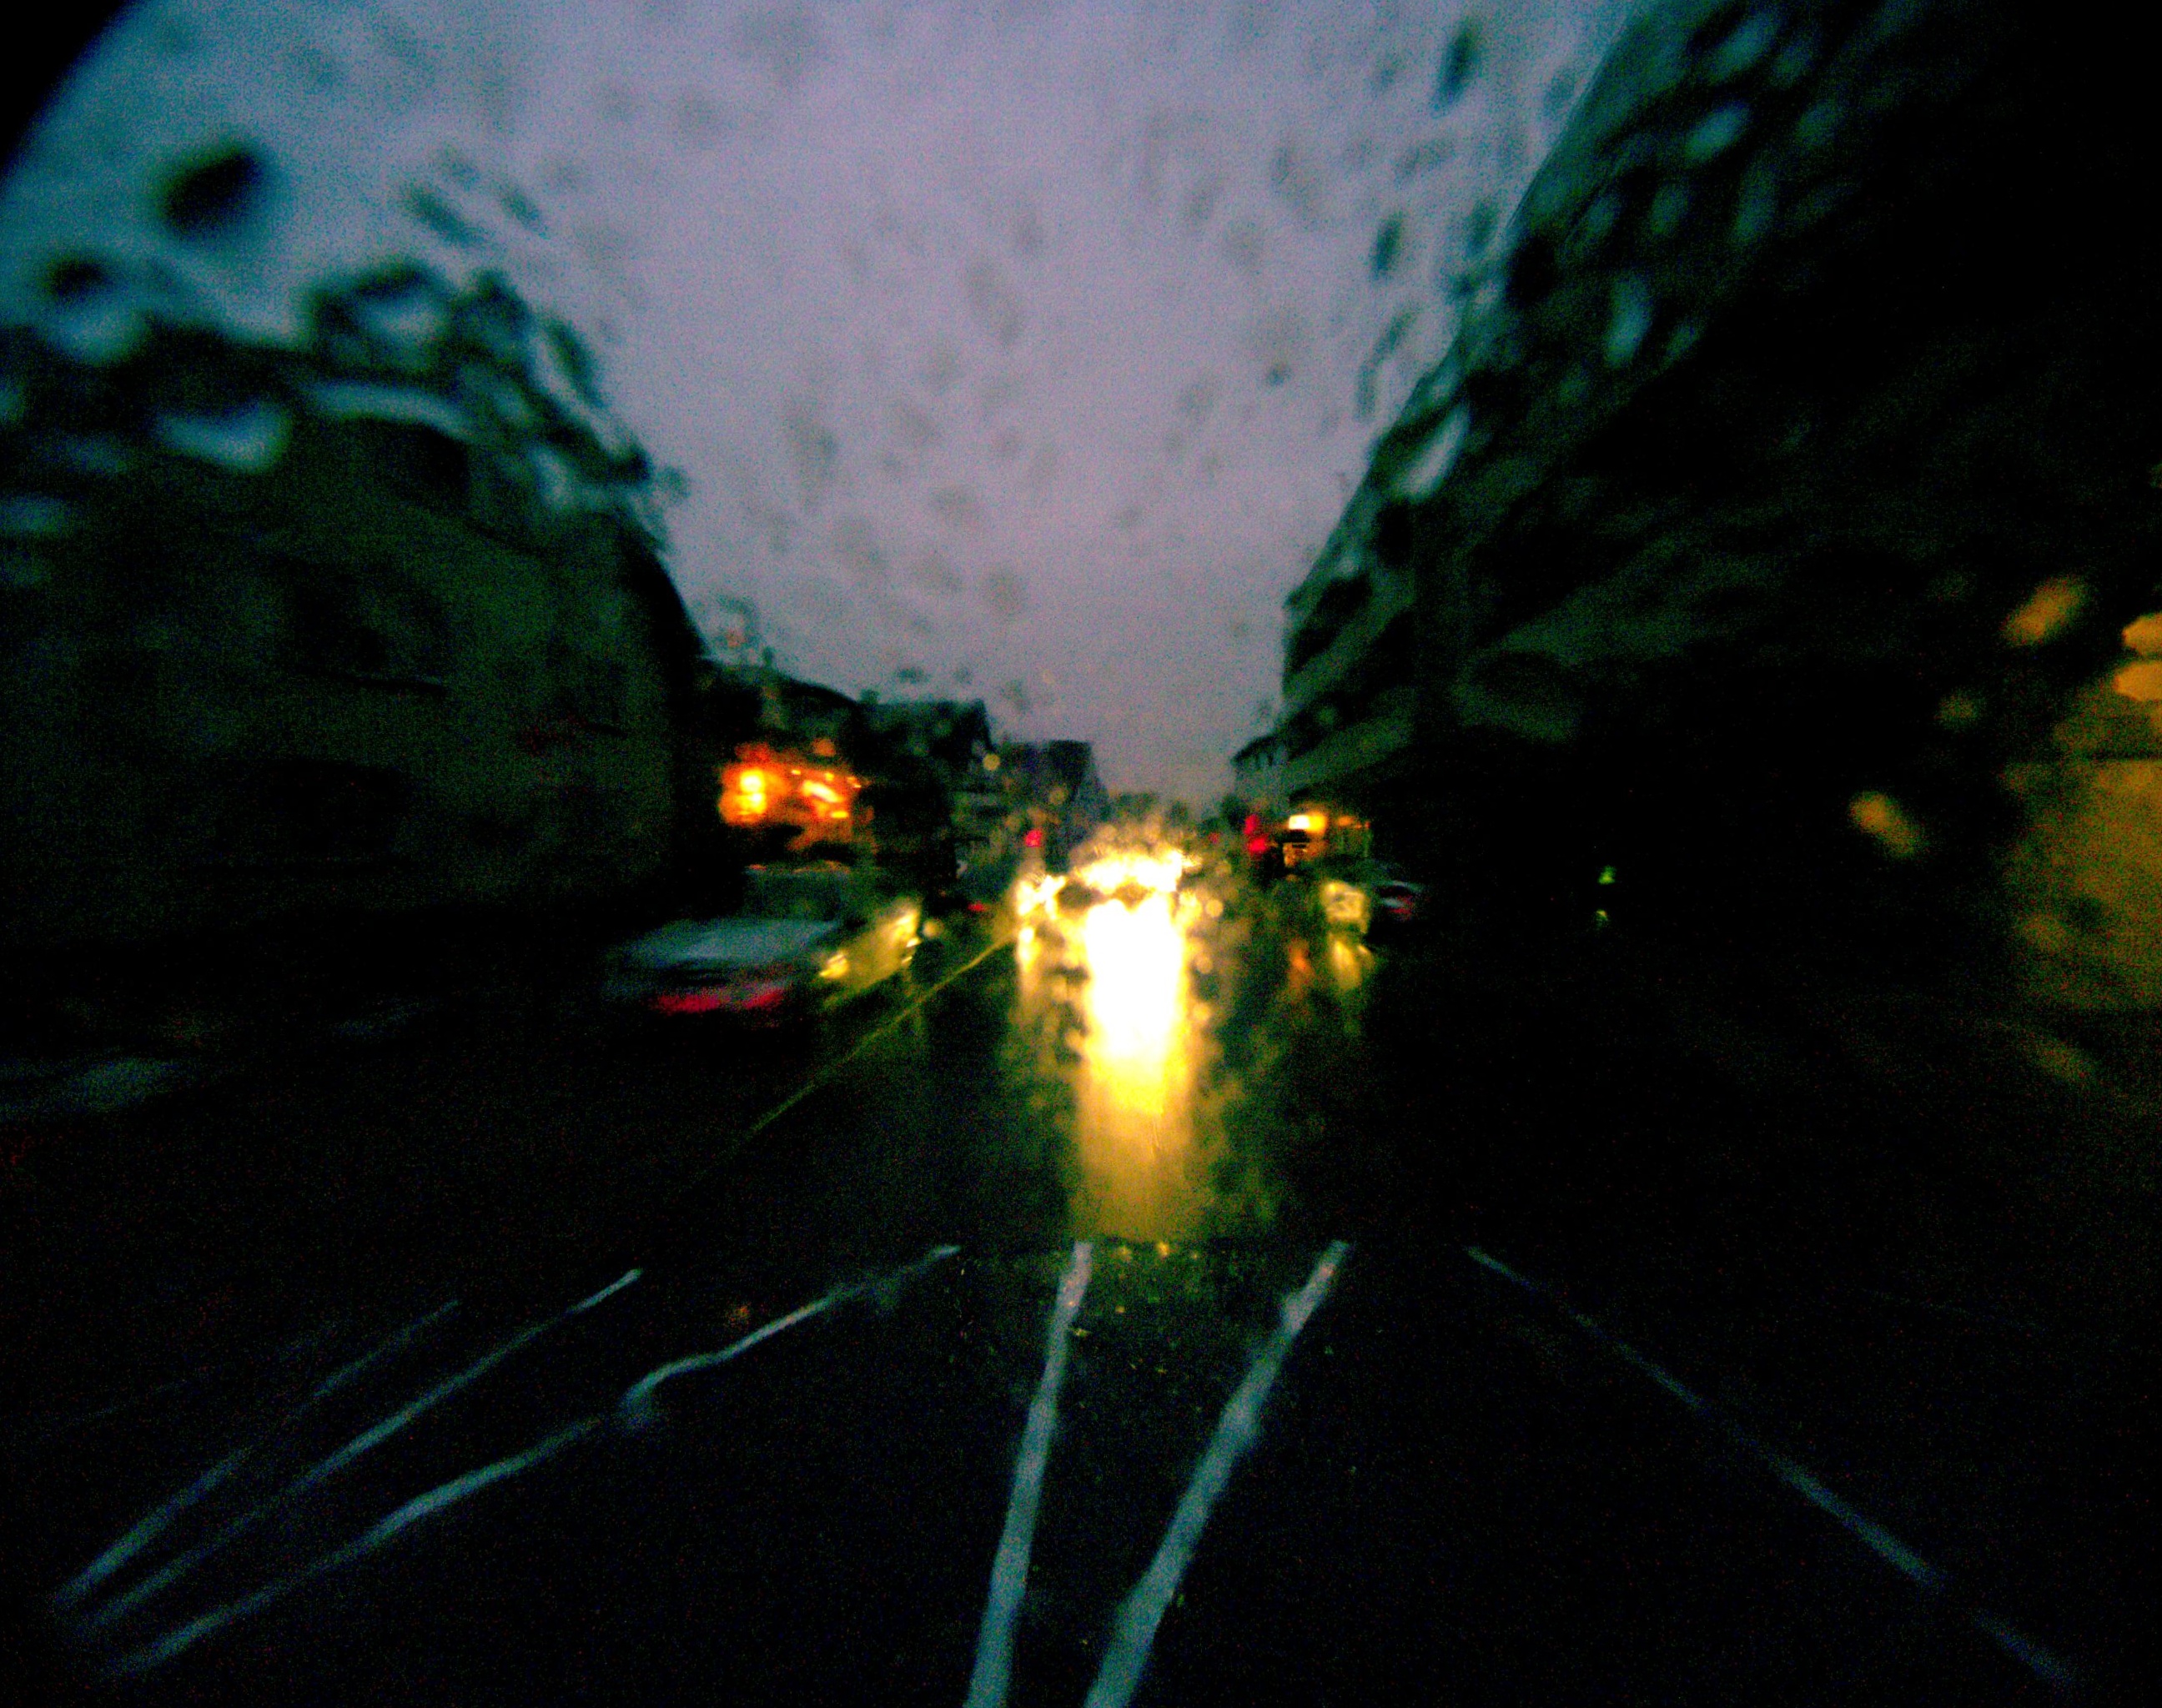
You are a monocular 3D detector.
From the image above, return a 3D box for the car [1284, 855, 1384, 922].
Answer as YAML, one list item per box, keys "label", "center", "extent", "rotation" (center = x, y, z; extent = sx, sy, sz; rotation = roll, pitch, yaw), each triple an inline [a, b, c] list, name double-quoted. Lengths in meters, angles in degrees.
- label: "car"
  center: [6.551, 0.834, 20.070]
  extent: [1.618, 1.524, 3.930]
  rotation: [-2, 0, 6]

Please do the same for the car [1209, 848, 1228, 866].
- label: "car"
  center: [21.540, 0.515, 118.895]
  extent: [2.044, 2.643, 4.216]
  rotation: [-3, -1, 21]

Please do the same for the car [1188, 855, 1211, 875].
- label: "car"
  center: [10.154, 0.912, 65.399]
  extent: [1.724, 1.604, 3.817]
  rotation: [-3, 0, 6]

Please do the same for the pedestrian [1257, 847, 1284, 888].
- label: "pedestrian"
  center: [9.128, 0.655, 36.639]
  extent: [1.200, 1.927, 0.977]
  rotation: [0, 0, 13]

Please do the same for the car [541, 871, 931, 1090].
- label: "car"
  center: [-2.977, 0.972, 7.811]
  extent: [1.798, 1.452, 4.531]
  rotation: [1, 0, 2]

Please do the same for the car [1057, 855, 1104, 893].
- label: "car"
  center: [0.034, 0.847, 34.210]
  extent: [1.768, 1.517, 4.390]
  rotation: [2, 1, 4]

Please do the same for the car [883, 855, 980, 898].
- label: "car"
  center: [-5.721, 0.839, 29.282]
  extent: [3.297, 1.433, 1.687]
  rotation: [2, 1, 4]

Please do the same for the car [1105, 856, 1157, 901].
- label: "car"
  center: [2.025, 0.891, 29.748]
  extent: [1.878, 1.622, 4.002]
  rotation: [-1, 0, 5]

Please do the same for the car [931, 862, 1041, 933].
- label: "car"
  center: [-2.190, 0.974, 18.801]
  extent: [1.827, 1.415, 4.609]
  rotation: [2, 0, 4]

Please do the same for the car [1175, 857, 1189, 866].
- label: "car"
  center: [16.589, 1.208, 124.919]
  extent: [1.797, 1.501, 4.004]
  rotation: [1, 0, 13]

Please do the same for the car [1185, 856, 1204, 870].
- label: "car"
  center: [12.159, 0.957, 81.420]
  extent: [1.797, 1.448, 4.398]
  rotation: [-2, 0, 11]

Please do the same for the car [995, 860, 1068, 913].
- label: "car"
  center: [-1.493, 0.971, 24.272]
  extent: [1.629, 1.433, 3.801]
  rotation: [2, 1, 7]

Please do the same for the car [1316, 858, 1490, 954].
- label: "car"
  center: [6.029, 0.883, 14.828]
  extent: [1.679, 1.438, 4.429]
  rotation: [-4, 0, 4]

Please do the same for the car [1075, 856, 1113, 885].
- label: "car"
  center: [0.779, 0.853, 41.793]
  extent: [1.736, 1.450, 4.001]
  rotation: [2, 1, 5]

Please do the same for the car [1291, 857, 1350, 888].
- label: "car"
  center: [12.228, 0.936, 39.089]
  extent: [1.768, 1.490, 4.452]
  rotation: [0, -1, 2]
